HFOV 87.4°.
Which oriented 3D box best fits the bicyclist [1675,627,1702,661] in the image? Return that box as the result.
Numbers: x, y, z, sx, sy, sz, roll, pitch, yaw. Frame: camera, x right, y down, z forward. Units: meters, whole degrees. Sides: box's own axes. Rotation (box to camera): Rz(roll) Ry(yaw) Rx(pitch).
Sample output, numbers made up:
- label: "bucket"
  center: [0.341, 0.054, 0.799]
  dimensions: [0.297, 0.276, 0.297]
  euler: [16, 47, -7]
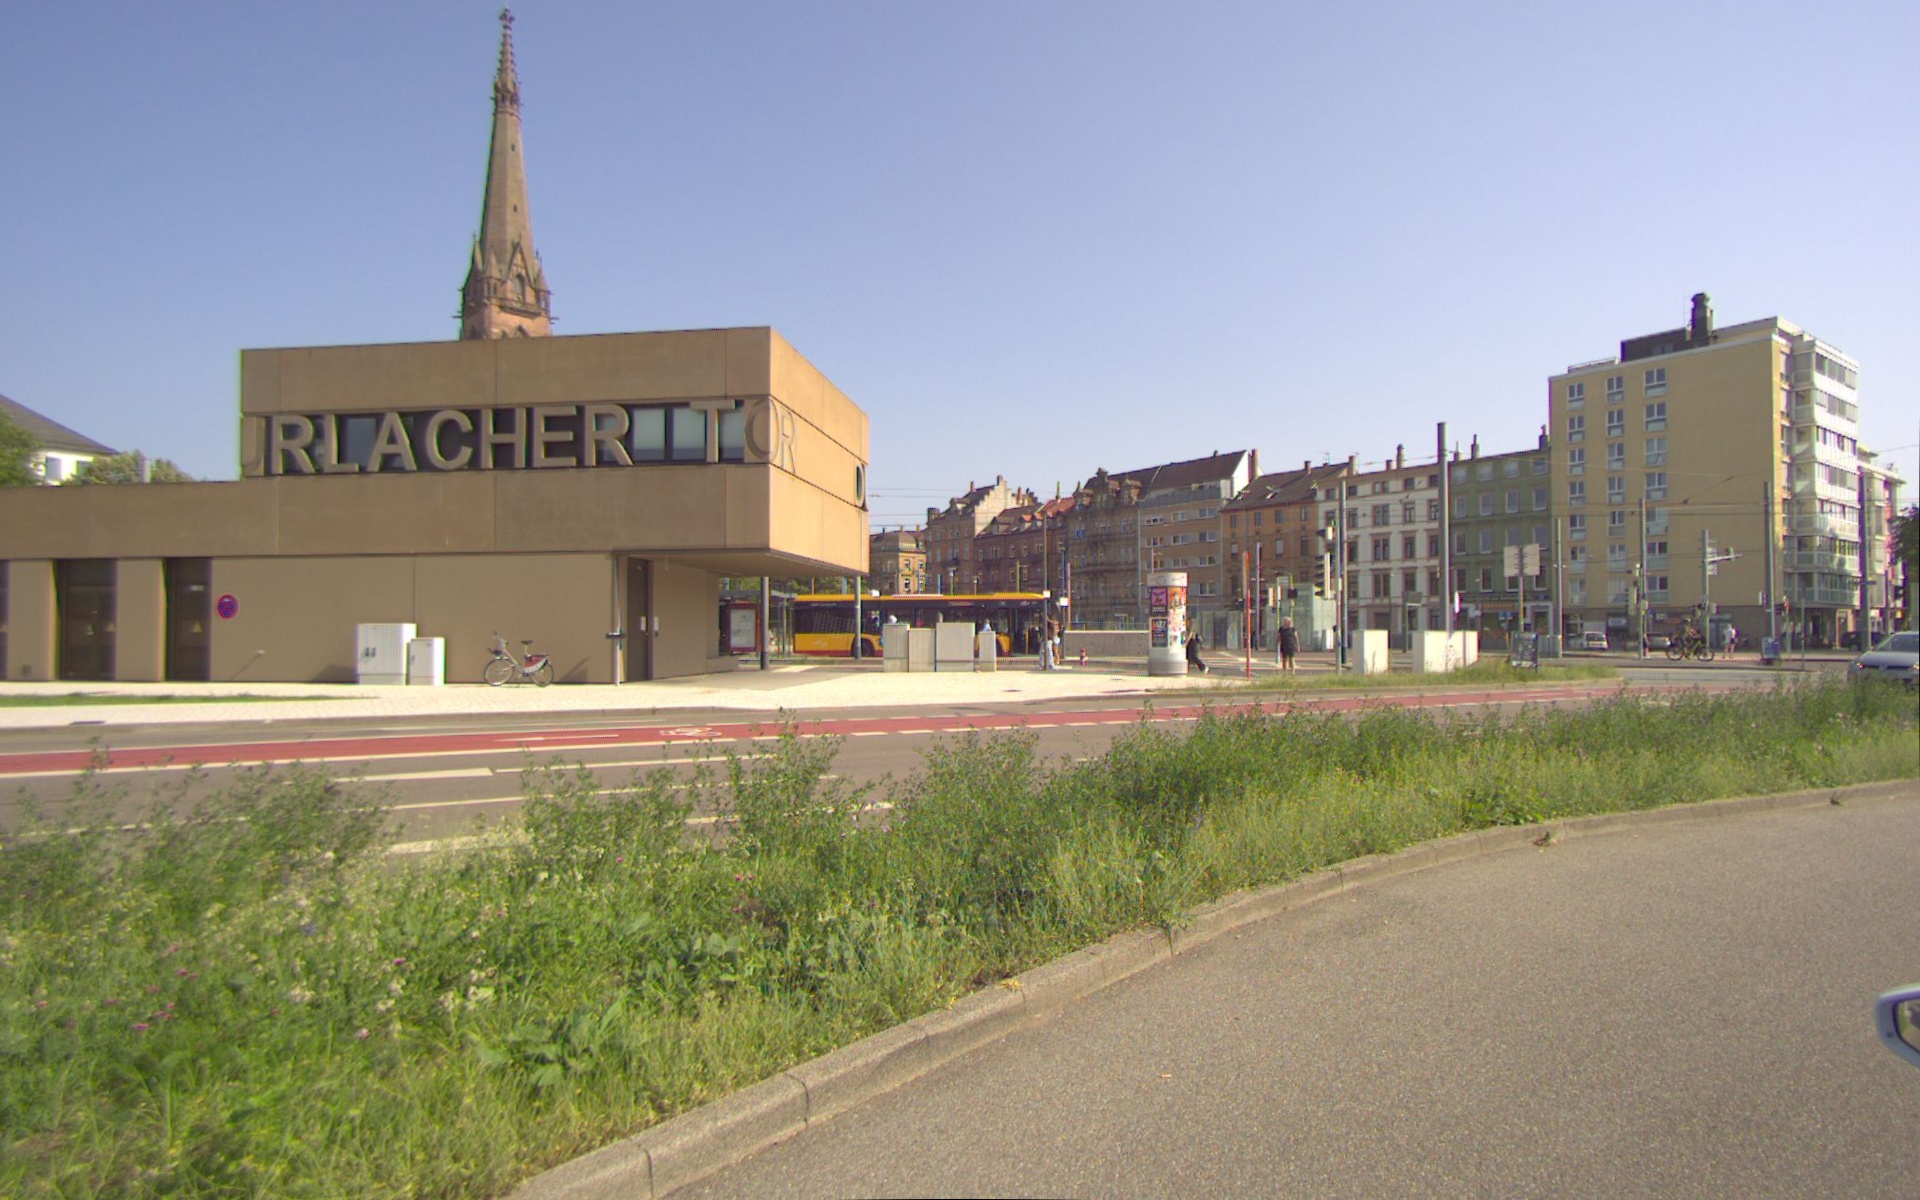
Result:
- label: "bicyclist"
  center: [33.698, 2.024, 46.481]
  dimensions: [0.718, 1.547, 0.790]
  euler: [1, -1, -30]

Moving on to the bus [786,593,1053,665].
- label: "bus"
  center: [-1.803, 1.309, 46.265]
  dimensions: [11.966, 3.149, 2.719]
  euler: [0, -2, 8]

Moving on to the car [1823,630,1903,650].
- label: "car"
  center: [65.318, 2.877, 72.705]
  dimensions: [1.468, 1.372, 4.125]
  euler: [1, -2, -37]

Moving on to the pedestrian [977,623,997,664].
- label: "pedestrian"
  center: [1.164, 1.886, 43.594]
  dimensions: [0.819, 1.761, 0.831]
  euler: [0, -1, 5]

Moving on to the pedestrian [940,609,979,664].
- label: "pedestrian"
  center: [-0.017, 1.161, 31.991]
  dimensions: [0.856, 1.727, 0.981]
  euler: [1, -2, -32]

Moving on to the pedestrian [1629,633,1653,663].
- label: "pedestrian"
  center: [39.375, 2.780, 58.060]
  dimensions: [0.914, 1.712, 0.915]
  euler: [1, -1, -37]

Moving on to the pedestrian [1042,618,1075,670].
- label: "pedestrian"
  center: [3.083, 1.373, 31.560]
  dimensions: [0.849, 1.583, 0.989]
  euler: [0, -2, -6]

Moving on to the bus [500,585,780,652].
- label: "bus"
  center: [-15.177, 0.886, 47.976]
  dimensions: [12.536, 3.017, 3.302]
  euler: [0, -2, 8]

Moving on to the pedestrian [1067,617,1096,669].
- label: "pedestrian"
  center: [4.320, 1.534, 35.725]
  dimensions: [0.692, 1.824, 0.775]
  euler: [1, -2, -27]

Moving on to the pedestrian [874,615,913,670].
- label: "pedestrian"
  center: [-2.076, 1.319, 31.499]
  dimensions: [0.856, 1.694, 0.981]
  euler: [1, -2, -32]

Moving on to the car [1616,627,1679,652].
- label: "car"
  center: [49.403, 2.796, 72.280]
  dimensions: [1.959, 1.701, 4.553]
  euler: [0, -1, 9]

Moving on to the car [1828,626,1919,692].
- label: "car"
  center: [22.581, 1.355, 23.610]
  dimensions: [4.169, 1.452, 1.808]
  euler: [1, -2, -26]

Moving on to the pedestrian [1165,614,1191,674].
- label: "pedestrian"
  center: [6.747, 1.368, 31.153]
  dimensions: [0.764, 1.824, 0.800]
  euler: [0, -1, 11]

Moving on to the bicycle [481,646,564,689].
- label: "bicycle"
  center: [-9.257, 1.422, 21.250]
  dimensions: [1.516, 0.849, 0.593]
  euler: [0, 1, 9]

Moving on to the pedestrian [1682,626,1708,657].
- label: "pedestrian"
  center: [41.300, 2.347, 56.441]
  dimensions: [0.914, 1.712, 0.915]
  euler: [1, -1, -37]

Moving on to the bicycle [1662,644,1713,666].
- label: "bicycle"
  center: [33.673, 2.539, 46.525]
  dimensions: [0.718, 0.944, 1.804]
  euler: [1, -2, -30]

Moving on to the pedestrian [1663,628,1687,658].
- label: "pedestrian"
  center: [40.909, 2.446, 57.479]
  dimensions: [0.914, 1.712, 0.915]
  euler: [1, -1, -37]

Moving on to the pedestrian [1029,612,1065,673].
- label: "pedestrian"
  center: [2.587, 1.265, 30.010]
  dimensions: [0.850, 1.793, 0.988]
  euler: [0, -2, -11]

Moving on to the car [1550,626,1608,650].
- label: "car"
  center: [46.955, 2.862, 76.268]
  dimensions: [1.960, 1.701, 4.553]
  euler: [0, -1, 6]

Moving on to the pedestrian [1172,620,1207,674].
- label: "pedestrian"
  center: [6.857, 1.401, 29.982]
  dimensions: [0.970, 1.579, 0.866]
  euler: [0, -2, 15]

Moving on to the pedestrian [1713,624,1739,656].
- label: "pedestrian"
  center: [41.941, 2.180, 54.972]
  dimensions: [0.914, 1.712, 0.915]
  euler: [1, -1, -37]

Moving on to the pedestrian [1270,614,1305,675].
- label: "pedestrian"
  center: [10.013, 1.348, 30.706]
  dimensions: [0.692, 1.824, 0.775]
  euler: [1, -2, -27]

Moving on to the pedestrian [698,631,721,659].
- label: "pedestrian"
  center: [-10.697, 1.916, 42.955]
  dimensions: [0.723, 1.148, 1.031]
  euler: [0, -2, 0]
